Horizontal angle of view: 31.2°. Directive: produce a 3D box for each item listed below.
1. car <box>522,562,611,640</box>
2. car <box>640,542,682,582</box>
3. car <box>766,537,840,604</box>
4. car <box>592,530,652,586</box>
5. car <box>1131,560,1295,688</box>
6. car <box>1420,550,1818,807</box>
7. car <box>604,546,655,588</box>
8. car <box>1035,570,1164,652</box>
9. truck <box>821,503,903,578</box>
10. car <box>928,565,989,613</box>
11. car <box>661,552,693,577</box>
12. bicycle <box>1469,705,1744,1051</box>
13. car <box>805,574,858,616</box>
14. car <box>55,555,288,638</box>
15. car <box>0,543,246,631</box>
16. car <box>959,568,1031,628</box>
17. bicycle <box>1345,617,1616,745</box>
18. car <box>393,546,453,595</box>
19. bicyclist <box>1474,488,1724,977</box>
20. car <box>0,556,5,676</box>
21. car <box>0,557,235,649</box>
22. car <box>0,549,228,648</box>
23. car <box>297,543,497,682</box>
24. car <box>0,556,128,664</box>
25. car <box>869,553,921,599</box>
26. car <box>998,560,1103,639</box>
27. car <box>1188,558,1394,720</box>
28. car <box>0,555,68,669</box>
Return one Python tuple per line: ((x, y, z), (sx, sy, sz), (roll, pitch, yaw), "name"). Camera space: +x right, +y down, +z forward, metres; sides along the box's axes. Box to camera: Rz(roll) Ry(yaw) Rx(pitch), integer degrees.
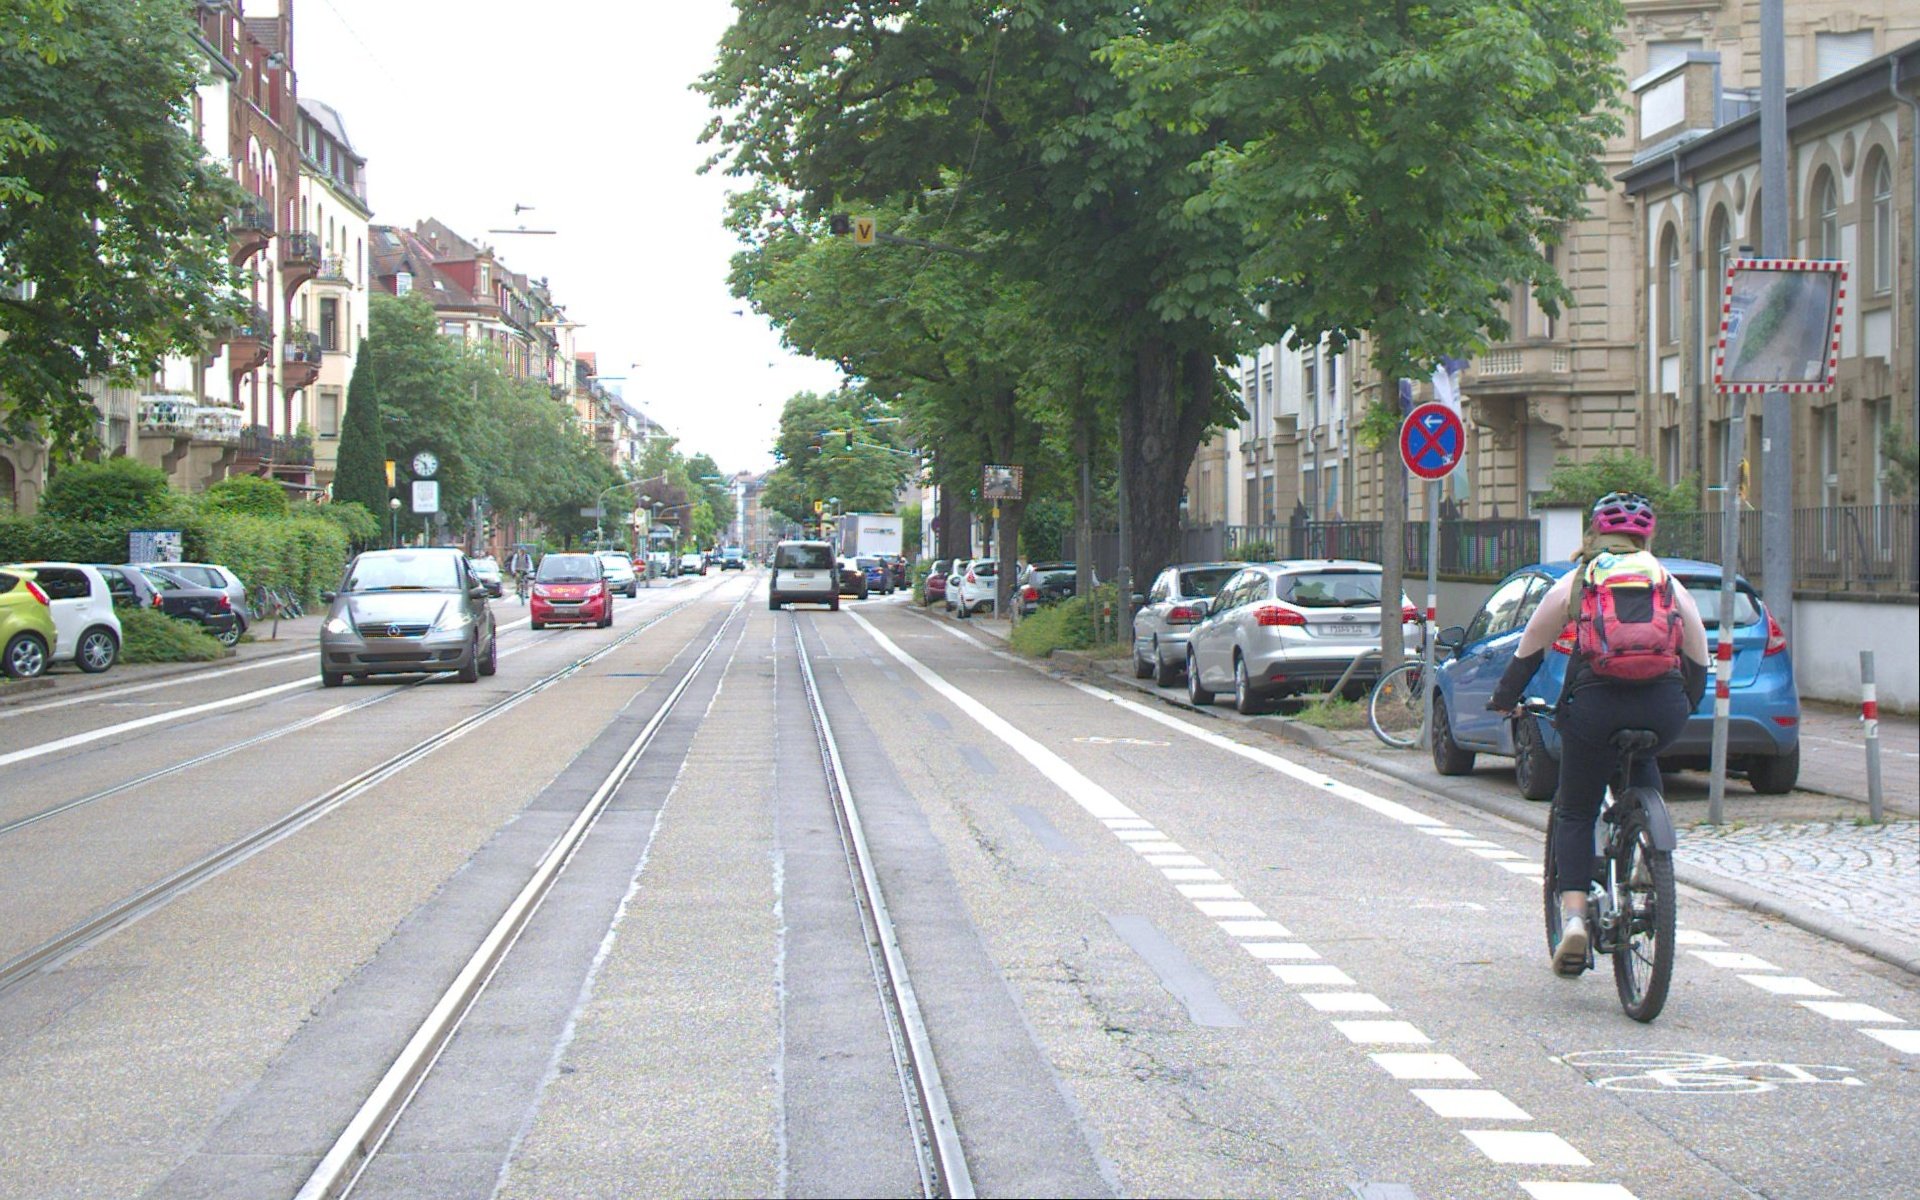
((-7.877, 0.009, 68.991), (1.676, 1.517, 2.782), (1, 0, -5), "car")
((-16.999, -2.186, 195.706), (2.205, 2.248, 4.001), (0, 1, -3), "car")
((-4.125, -0.780, 90.752), (1.811, 1.702, 3.699), (1, 0, 0), "car")
((-14.892, -1.874, 151.697), (2.205, 2.409, 4.000), (0, 1, 1), "car")
((2.980, 0.253, 41.063), (1.475, 1.424, 3.566), (-1, 1, -3), "car")
((4.126, 0.437, 22.023), (1.674, 1.455, 3.433), (-2, 1, -3), "car")
((-11.722, -1.180, 121.814), (1.740, 1.424, 4.001), (0, 1, -7), "car")
((2.215, 0.154, 55.542), (1.873, 1.247, 4.000), (0, 1, -1), "car")
((-5.512, -3.308, 191.515), (3.807, 4.016, 10.220), (0, 1, -6), "truck")
((-0.058, -0.343, 102.735), (1.770, 1.394, 3.795), (0, 1, -1), "car")
((-18.881, -2.382, 229.351), (1.772, 1.638, 3.566), (0, 1, 1), "car")
((2.188, 0.908, 11.851), (0.489, 0.976, 2.058), (1, 1, -2), "bicycle")
((-4.539, -0.184, 121.580), (1.770, 1.394, 3.795), (0, 1, -1), "car")
((-13.955, -0.065, 60.845), (3.707, 1.381, 1.700), (1, 1, -27), "car")
((-14.006, -0.220, 57.528), (3.707, 1.381, 1.700), (1, 1, -27), "car")
((0.823, -0.064, 82.615), (1.667, 1.394, 3.661), (0, 1, -1), "car")
((4.038, 0.622, 26.720), (2.012, 0.953, 0.534), (0, 1, -6), "bicycle")
((-24.375, -1.350, 156.167), (2.177, 2.199, 4.219), (0, 1, -2), "car")
((2.164, 0.429, 11.740), (0.658, 1.605, 0.920), (0, 1, -1), "bicyclist")
((-12.668, 0.148, 37.615), (1.698, 1.347, 3.958), (2, 1, 42), "car")
((-13.616, 0.051, 54.757), (3.707, 1.381, 1.700), (1, 1, -27), "car")
((-12.615, -0.033, 49.142), (1.698, 1.347, 3.958), (2, 1, 42), "car")
((-6.591, 0.107, 40.583), (1.900, 1.525, 3.755), (-1, 1, -3), "car")
((-12.826, 0.110, 43.957), (1.698, 1.347, 3.958), (2, 1, 42), "car")
((-2.579, -0.961, 135.853), (1.993, 1.787, 4.000), (0, 1, -2), "car")
((1.653, -0.031, 63.707), (1.791, 1.394, 3.795), (0, 1, -1), "car")
((3.216, 0.342, 33.957), (1.475, 1.476, 3.566), (1, 1, -3), "car")
((-12.812, 0.128, 40.902), (1.698, 1.347, 3.958), (2, 1, 42), "car")
